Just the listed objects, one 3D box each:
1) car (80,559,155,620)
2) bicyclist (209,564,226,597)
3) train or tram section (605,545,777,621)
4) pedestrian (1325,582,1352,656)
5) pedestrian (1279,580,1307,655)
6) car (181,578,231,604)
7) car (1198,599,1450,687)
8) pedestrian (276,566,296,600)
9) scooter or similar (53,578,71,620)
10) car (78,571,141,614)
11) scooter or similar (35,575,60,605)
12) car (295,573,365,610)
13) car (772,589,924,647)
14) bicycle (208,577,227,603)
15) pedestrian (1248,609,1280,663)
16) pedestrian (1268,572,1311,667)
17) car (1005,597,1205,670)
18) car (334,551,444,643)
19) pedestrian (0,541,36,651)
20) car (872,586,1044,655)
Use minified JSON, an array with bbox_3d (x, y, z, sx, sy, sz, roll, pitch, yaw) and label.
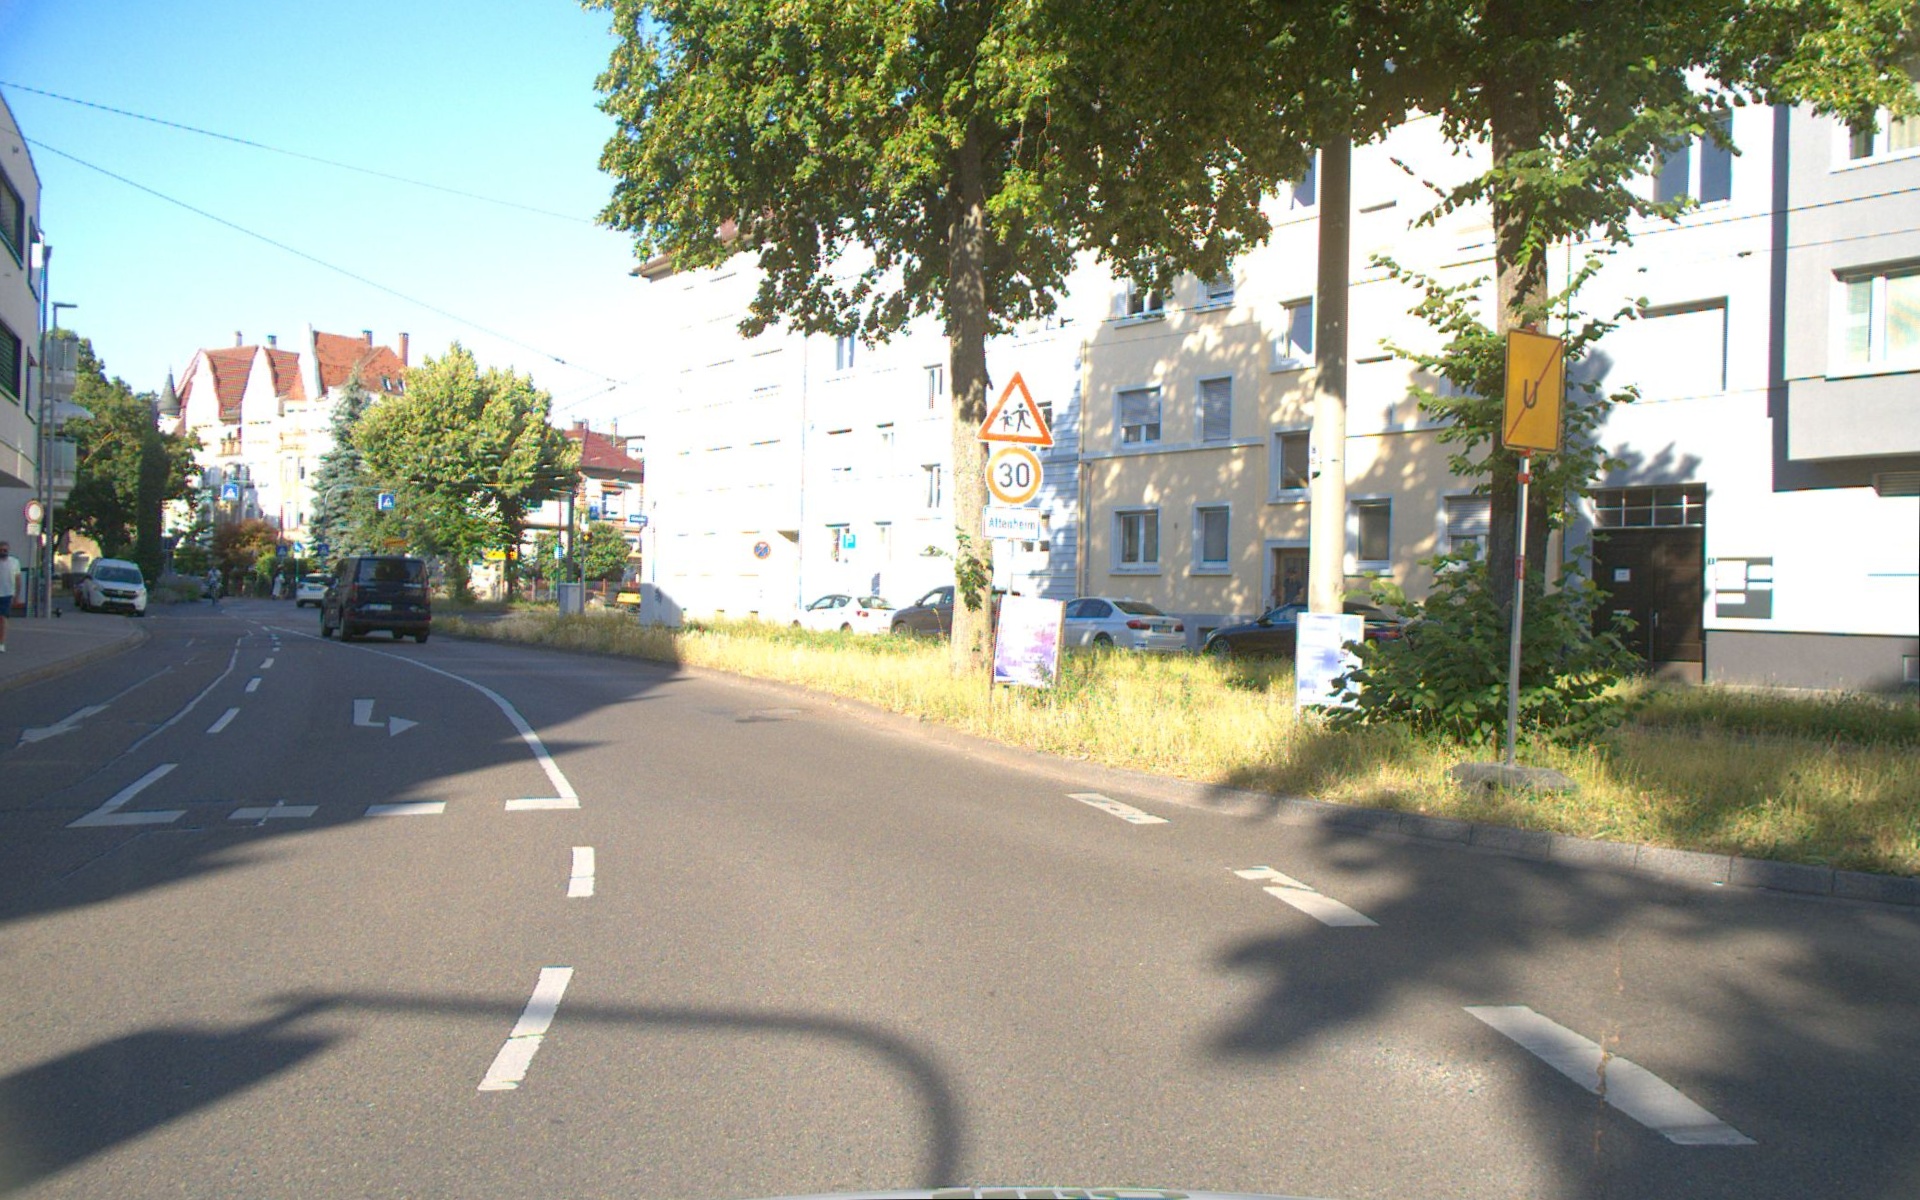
[{"bbox_3d":[-28.340,-0.348,55.589,1.793,1.902,4.285,4,-2,-32],"label":"car"},{"bbox_3d":[-32.283,-0.845,71.894,0.616,1.404,0.793,1,0,-29],"label":"bicyclist"},{"bbox_3d":[-13.510,-0.768,84.115,2.726,3.617,9.892,1,0,32],"label":"train or tram section"},{"bbox_3d":[7.920,0.397,34.611,0.303,1.541,0.436,0,0,-44],"label":"pedestrian"},{"bbox_3d":[6.953,0.363,34.537,0.330,1.541,0.437,0,0,-40],"label":"pedestrian"},{"bbox_3d":[-49.781,-0.624,109.153,1.981,1.624,3.943,3,-1,-39],"label":"car"},{"bbox_3d":[6.713,0.745,30.869,1.978,1.410,4.389,1,1,-37],"label":"car"},{"bbox_3d":[-34.960,-0.869,85.750,0.858,1.686,0.900,2,-1,-25],"label":"pedestrian"},{"bbox_3d":[-26.101,-0.027,48.064,0.401,1.196,0.937,1,1,-32],"label":"scooter or similar"},{"bbox_3d":[-33.529,-0.320,65.281,1.685,1.492,4.561,4,0,-22],"label":"car"},{"bbox_3d":[-40.286,-0.443,73.040,1.515,1.251,0.506,1,-1,44],"label":"scooter or similar"},{"bbox_3d":[-27.499,-0.383,72.294,1.921,1.531,3.681,0,1,-6],"label":"car"},{"bbox_3d":[-3.125,0.453,45.256,1.981,1.410,4.383,1,1,-40],"label":"car"},{"bbox_3d":[-32.273,-0.448,71.855,0.615,1.100,1.766,1,0,-29],"label":"bicycle"},{"bbox_3d":[6.259,0.737,34.024,0.428,1.084,0.455,2,0,-36],"label":"pedestrian"},{"bbox_3d":[7.181,0.420,36.034,0.607,2.049,0.641,2,0,-37],"label":"pedestrian"},{"bbox_3d":[3.119,0.697,36.413,1.978,1.410,4.389,1,1,-37],"label":"car"},{"bbox_3d":[-13.800,-0.093,39.842,1.969,2.049,3.967,2,0,-26],"label":"car"},{"bbox_3d":[-16.540,-0.070,28.805,0.597,1.881,0.986,2,-1,-23],"label":"pedestrian"},{"bbox_3d":[-0.115,0.476,41.022,1.978,1.599,4.581,1,0,-37],"label":"car"}]
